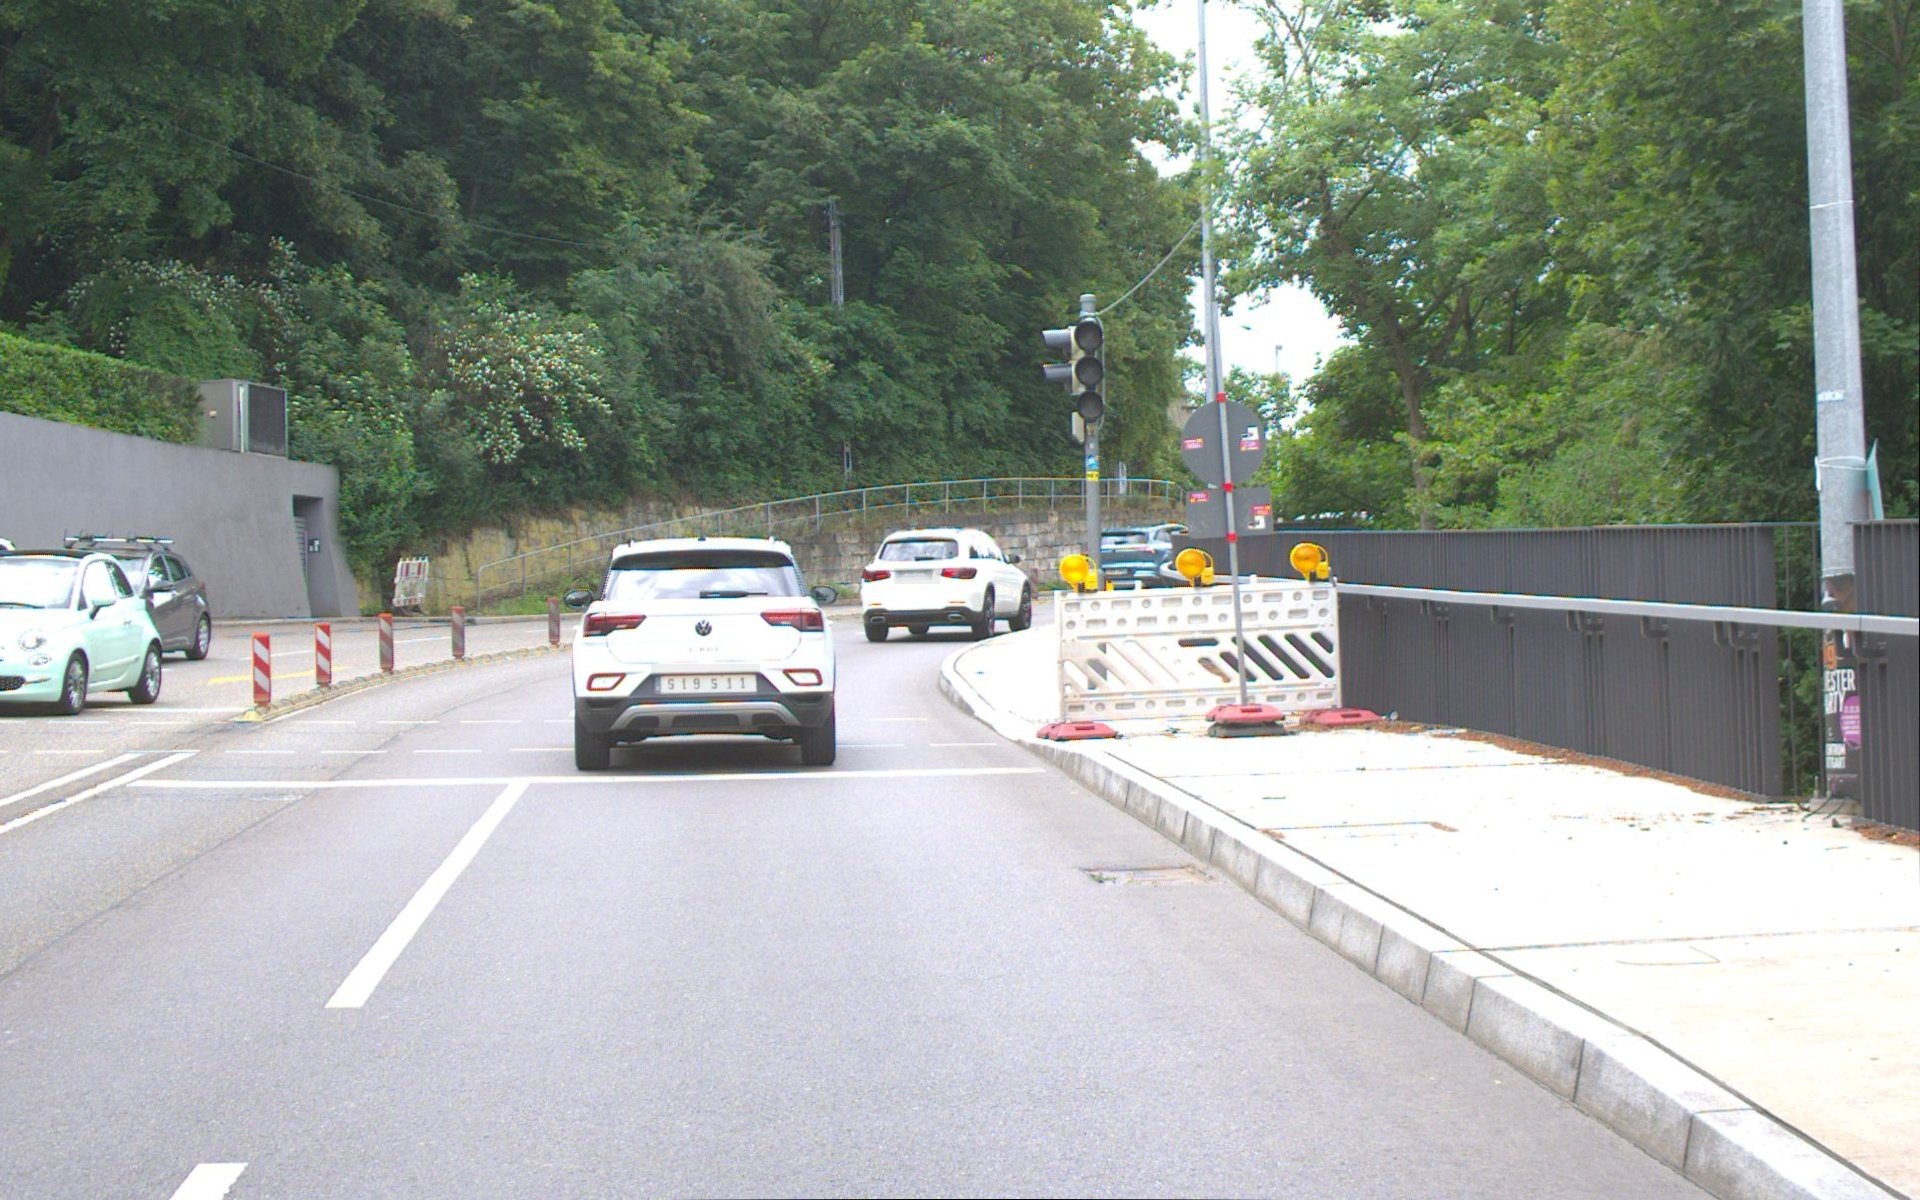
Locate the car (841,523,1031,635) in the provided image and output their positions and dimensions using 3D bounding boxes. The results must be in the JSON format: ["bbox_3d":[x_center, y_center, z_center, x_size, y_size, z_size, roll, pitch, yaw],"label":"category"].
[{"bbox_3d":[-0.313,-0.319,51.567,1.995,1.581,3.998,1,1,12],"label":"car"}]

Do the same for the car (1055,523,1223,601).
[{"bbox_3d":[3.760,-0.779,71.517,1.996,1.535,4.004,1,1,28],"label":"car"}]

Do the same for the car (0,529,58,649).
[{"bbox_3d":[-13.481,-0.163,44.962,1.833,1.567,4.474,1,1,5],"label":"car"}]

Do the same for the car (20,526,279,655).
[{"bbox_3d":[-10.410,-0.139,44.461,1.712,1.592,4.205,0,1,10],"label":"car"}]

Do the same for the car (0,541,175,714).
[{"bbox_3d":[-8.637,0.206,31.716,1.711,1.461,3.660,1,1,4],"label":"car"}]

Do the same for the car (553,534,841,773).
[{"bbox_3d":[-1.890,0.308,24.286,1.867,1.531,3.804,0,1,-5],"label":"car"}]

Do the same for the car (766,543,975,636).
[{"bbox_3d":[-1.557,-0.192,61.294,1.910,1.568,3.993,1,1,30],"label":"car"}]
